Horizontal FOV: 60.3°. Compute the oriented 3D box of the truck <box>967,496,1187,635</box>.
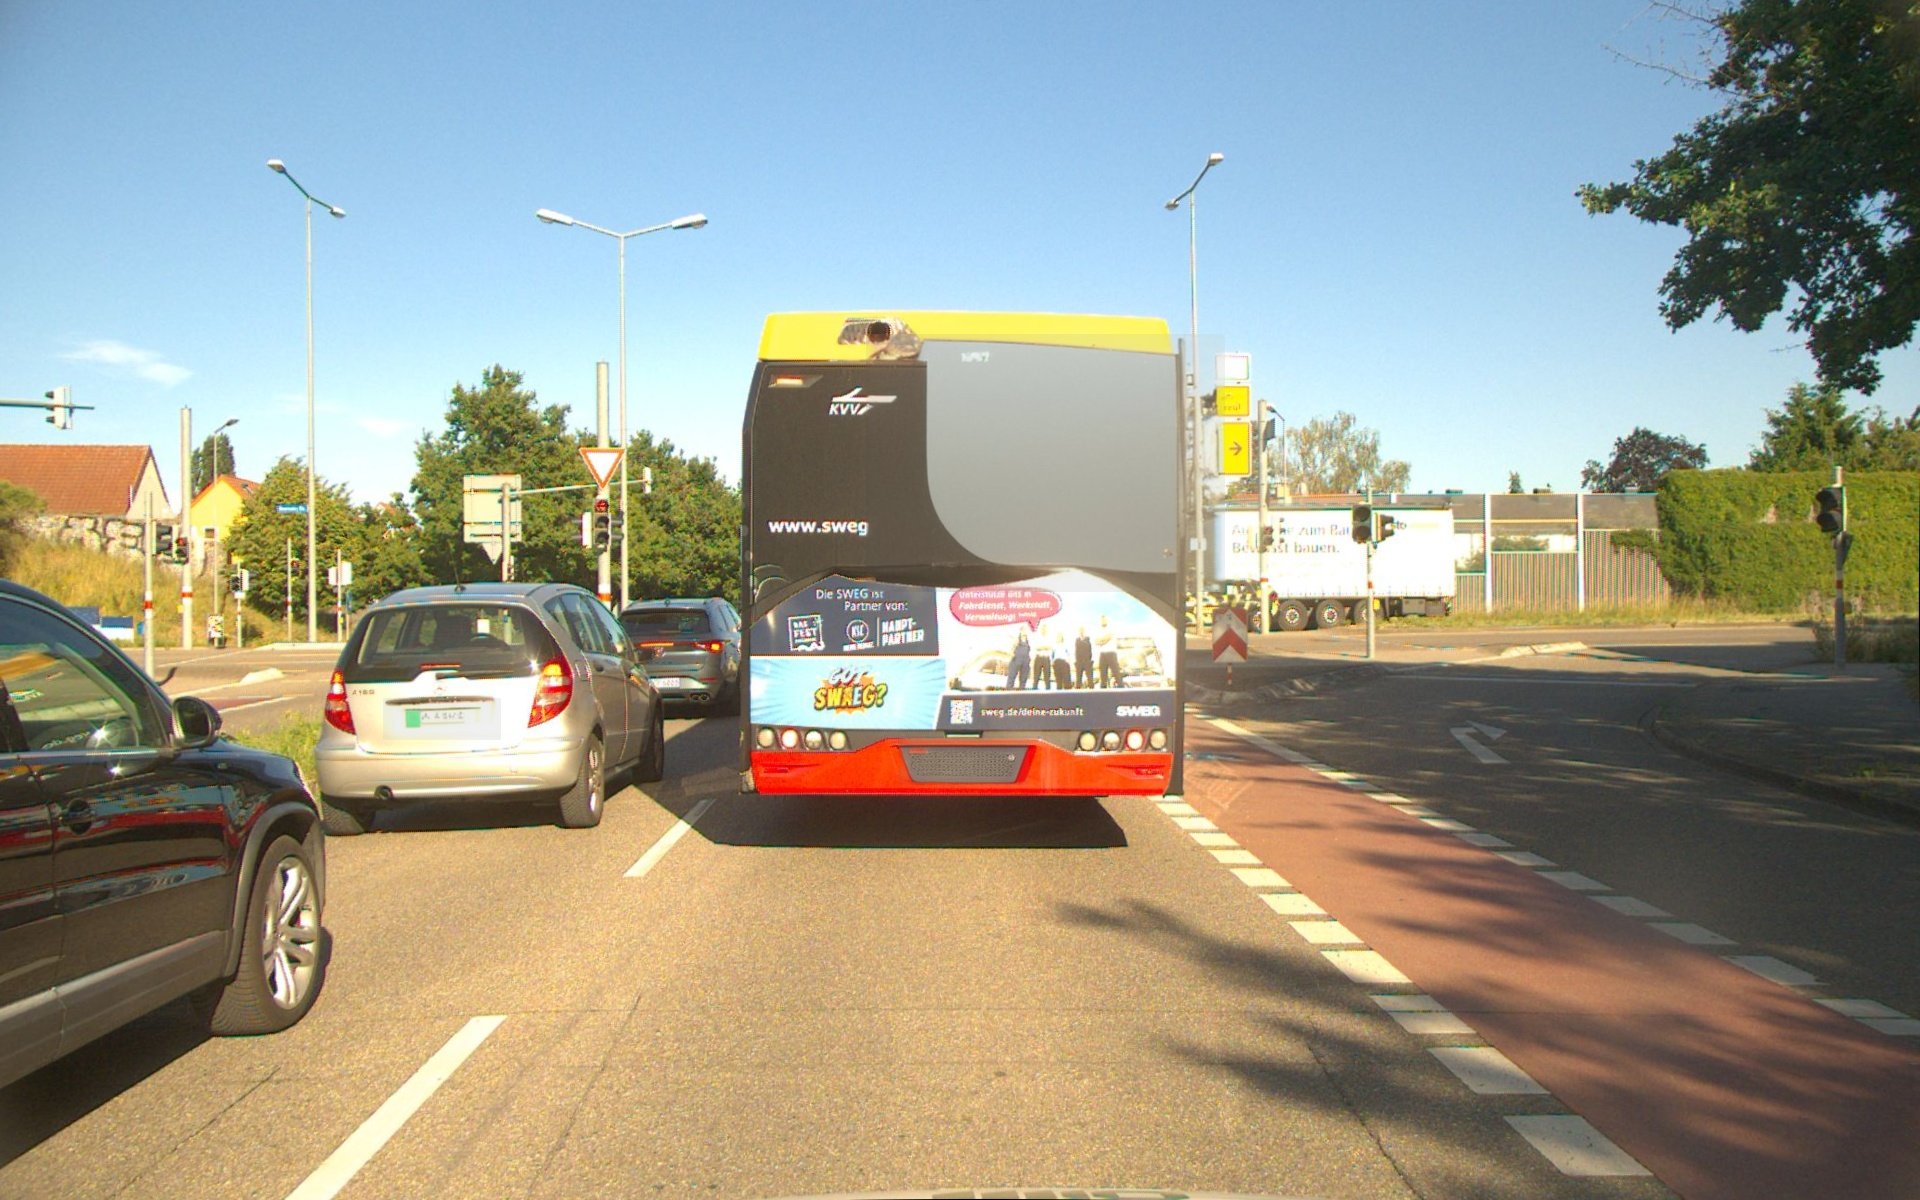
[{"bbox_3d":[3.720,-1.102,53.720,6.356,4.082,3.434,-3,0,-9],"label":"truck"}]

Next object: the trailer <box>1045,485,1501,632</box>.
[{"bbox_3d":[10.280,-1.377,54.724,14.384,4.082,3.434,-3,0,-9],"label":"trailer"}]

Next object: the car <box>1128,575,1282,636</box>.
[{"bbox_3d":[6.994,0.155,47.328,3.991,1.552,1.765,-2,0,-9],"label":"car"}]

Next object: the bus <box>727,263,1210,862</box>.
[{"bbox_3d":[0.012,-0.252,14.891,2.589,3.222,11.860,0,0,0],"label":"bus"}]

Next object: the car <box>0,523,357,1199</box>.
[{"bbox_3d":[-3.153,0.687,4.301,1.736,1.682,3.999,-2,0,-1],"label":"car"}]

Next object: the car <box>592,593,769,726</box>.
[{"bbox_3d":[-3.458,0.677,21.056,1.658,1.484,3.750,-2,0,-1],"label":"car"}]

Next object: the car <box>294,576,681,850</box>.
[{"bbox_3d":[-3.226,0.683,12.128,1.725,1.617,3.999,-2,0,-1],"label":"car"}]
